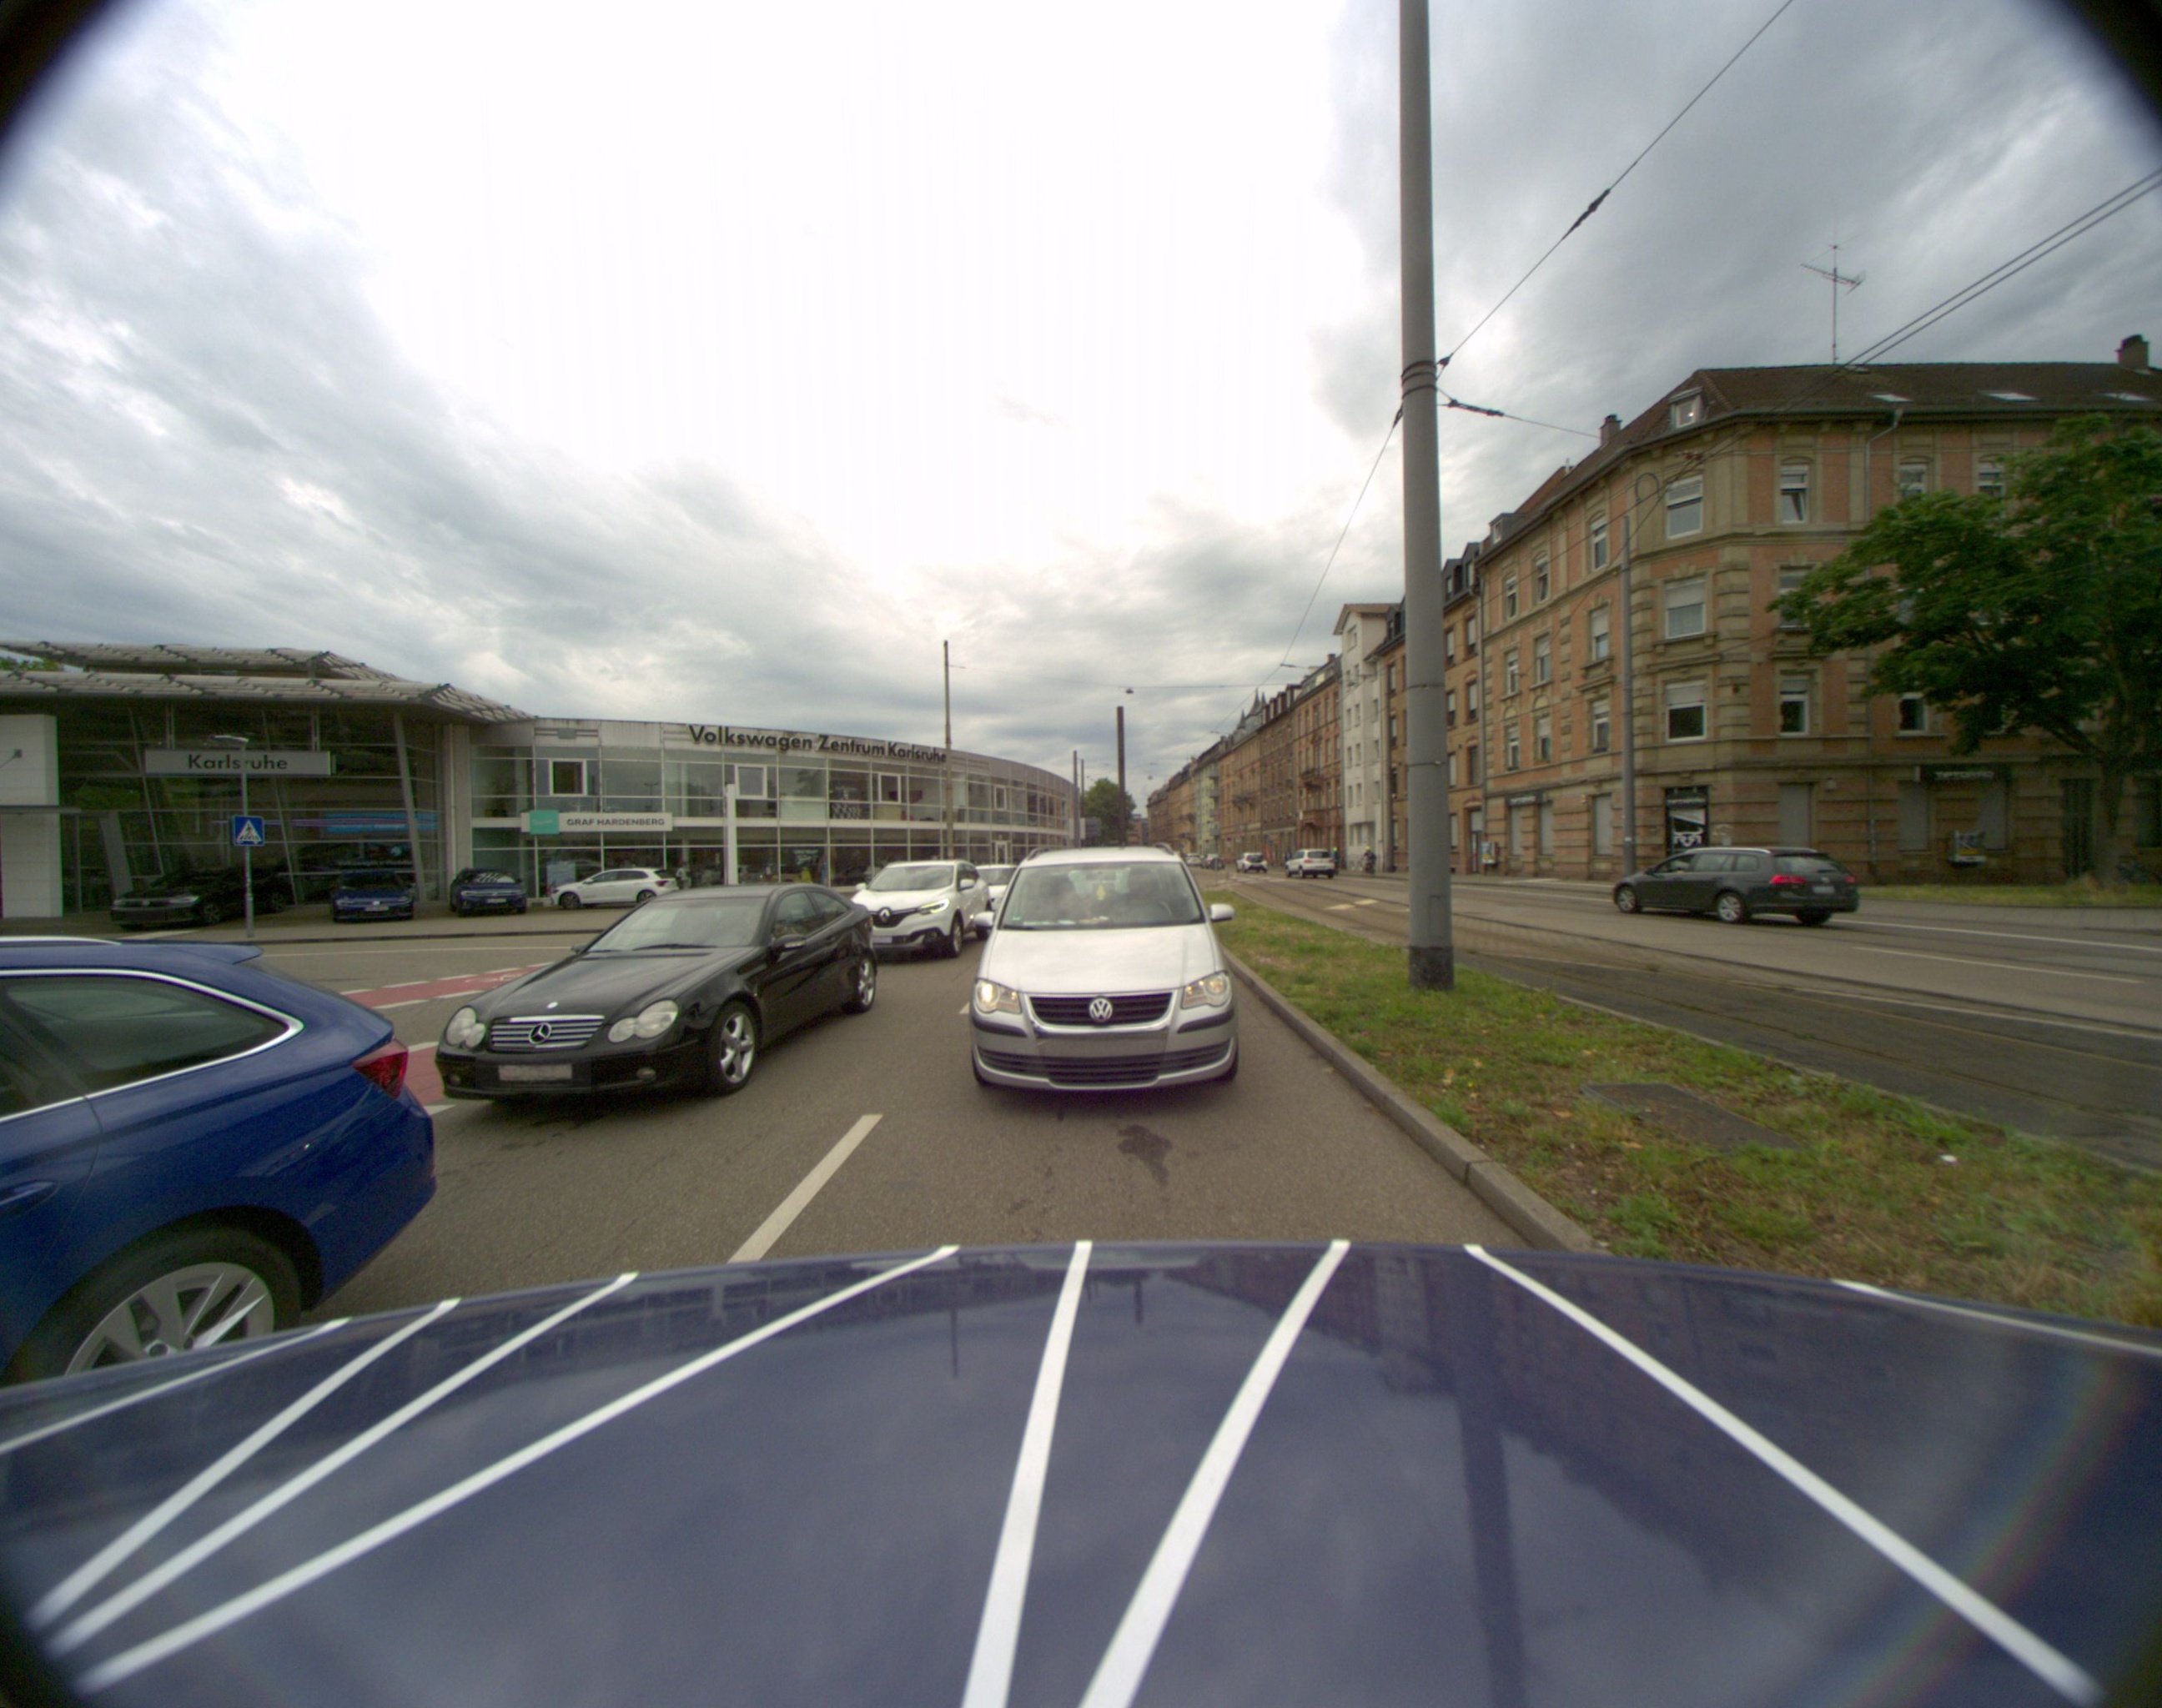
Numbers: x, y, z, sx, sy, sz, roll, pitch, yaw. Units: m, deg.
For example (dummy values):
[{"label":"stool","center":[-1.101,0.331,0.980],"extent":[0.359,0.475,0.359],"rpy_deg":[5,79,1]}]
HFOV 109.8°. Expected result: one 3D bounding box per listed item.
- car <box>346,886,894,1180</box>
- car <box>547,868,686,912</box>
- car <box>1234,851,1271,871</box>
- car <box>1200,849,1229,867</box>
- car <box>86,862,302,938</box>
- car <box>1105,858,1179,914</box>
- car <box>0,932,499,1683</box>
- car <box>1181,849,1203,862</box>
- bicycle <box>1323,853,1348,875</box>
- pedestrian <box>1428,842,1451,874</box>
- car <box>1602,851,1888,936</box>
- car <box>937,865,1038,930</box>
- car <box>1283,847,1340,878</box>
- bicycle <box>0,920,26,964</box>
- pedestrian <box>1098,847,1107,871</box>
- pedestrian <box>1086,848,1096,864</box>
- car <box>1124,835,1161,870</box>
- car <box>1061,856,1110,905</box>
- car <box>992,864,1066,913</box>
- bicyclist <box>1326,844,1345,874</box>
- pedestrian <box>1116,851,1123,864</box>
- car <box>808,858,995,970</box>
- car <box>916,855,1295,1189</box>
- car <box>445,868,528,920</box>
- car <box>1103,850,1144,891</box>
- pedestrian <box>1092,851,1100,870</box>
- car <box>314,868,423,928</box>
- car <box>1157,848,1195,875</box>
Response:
[{"label":"car","center":[-3.110,1.097,6.429],"extent":[1.769,1.362,4.422],"rpy_deg":[-2,0,2]},{"label":"car","center":[-16.890,1.274,27.803],"extent":[3.907,1.433,1.731],"rpy_deg":[-1,1,-9]},{"label":"car","center":[12.901,0.508,57.481],"extent":[1.815,1.423,4.017],"rpy_deg":[-1,0,-1]},{"label":"car","center":[12.941,0.359,73.916],"extent":[1.896,1.693,4.232],"rpy_deg":[-1,0,-1]},{"label":"car","center":[-26.497,1.277,23.002],"extent":[1.959,1.635,4.664],"rpy_deg":[-1,5,-17]},{"label":"car","center":[1.833,0.884,22.717],"extent":[1.972,1.447,4.194],"rpy_deg":[-1,0,5]},{"label":"car","center":[-3.183,1.054,0.542],"extent":[1.770,1.428,4.757],"rpy_deg":[-2,0,1]},{"label":"car","center":[13.095,0.184,89.757],"extent":[1.819,1.500,4.574],"rpy_deg":[-1,0,-1]},{"label":"bicycle","center":[15.666,0.586,46.822],"extent":[0.798,1.285,2.411],"rpy_deg":[-1,0,2]},{"label":"pedestrian","center":[19.096,0.232,40.433],"extent":[0.812,1.666,0.798],"rpy_deg":[-1,1,-3]},{"label":"car","center":[13.189,0.688,15.561],"extent":[1.888,1.461,4.463],"rpy_deg":[-1,0,-1]},{"label":"car","center":[-2.316,1.048,19.871],"extent":[1.907,1.428,3.973],"rpy_deg":[-1,0,4]},{"label":"car","center":[13.086,0.434,43.355],"extent":[1.835,1.635,4.230],"rpy_deg":[-1,0,-1]},{"label":"bicycle","center":[-24.201,1.928,16.364],"extent":[1.790,0.906,0.561],"rpy_deg":[-1,1,-13]},{"label":"pedestrian","center":[1.735,0.393,60.456],"extent":[0.652,1.904,0.602],"rpy_deg":[-1,1,1]},{"label":"pedestrian","center":[1.299,0.233,97.190],"extent":[1.177,2.002,1.032],"rpy_deg":[-1,1,1]},{"label":"car","center":[3.722,-0.087,46.716],"extent":[1.998,2.002,4.000],"rpy_deg":[-1,0,1]},{"label":"car","center":[0.235,1.125,34.050],"extent":[1.998,2.002,4.000],"rpy_deg":[-1,0,1]},{"label":"car","center":[-1.621,1.076,25.077],"extent":[1.907,1.428,3.973],"rpy_deg":[-1,0,4]},{"label":"bicyclist","center":[15.655,0.310,46.788],"extent":[0.824,1.856,0.924],"rpy_deg":[-1,1,1]},{"label":"pedestrian","center":[5.945,0.480,117.514],"extent":[1.004,2.002,0.908],"rpy_deg":[-1,1,1]},{"label":"car","center":[-2.845,0.891,13.101],"extent":[1.982,1.550,4.146],"rpy_deg":[-1,0,4]},{"label":"car","center":[0.179,0.857,6.354],"extent":[1.863,1.609,5.062],"rpy_deg":[-2,0,1]},{"label":"car","center":[-20.000,1.270,25.500],"extent":[1.795,1.552,4.023],"rpy_deg":[-2,1,-44]},{"label":"car","center":[2.185,0.810,39.859],"extent":[1.998,2.002,4.000],"rpy_deg":[-1,0,1]},{"label":"pedestrian","center":[1.315,0.570,66.371],"extent":[0.663,1.671,0.650],"rpy_deg":[-1,1,1]},{"label":"car","center":[-22.245,1.307,23.895],"extent":[1.961,1.517,4.218],"rpy_deg":[-1,2,-36]},{"label":"car","center":[6.716,0.501,54.220],"extent":[2.372,1.744,5.130],"rpy_deg":[-1,0,4]}]
